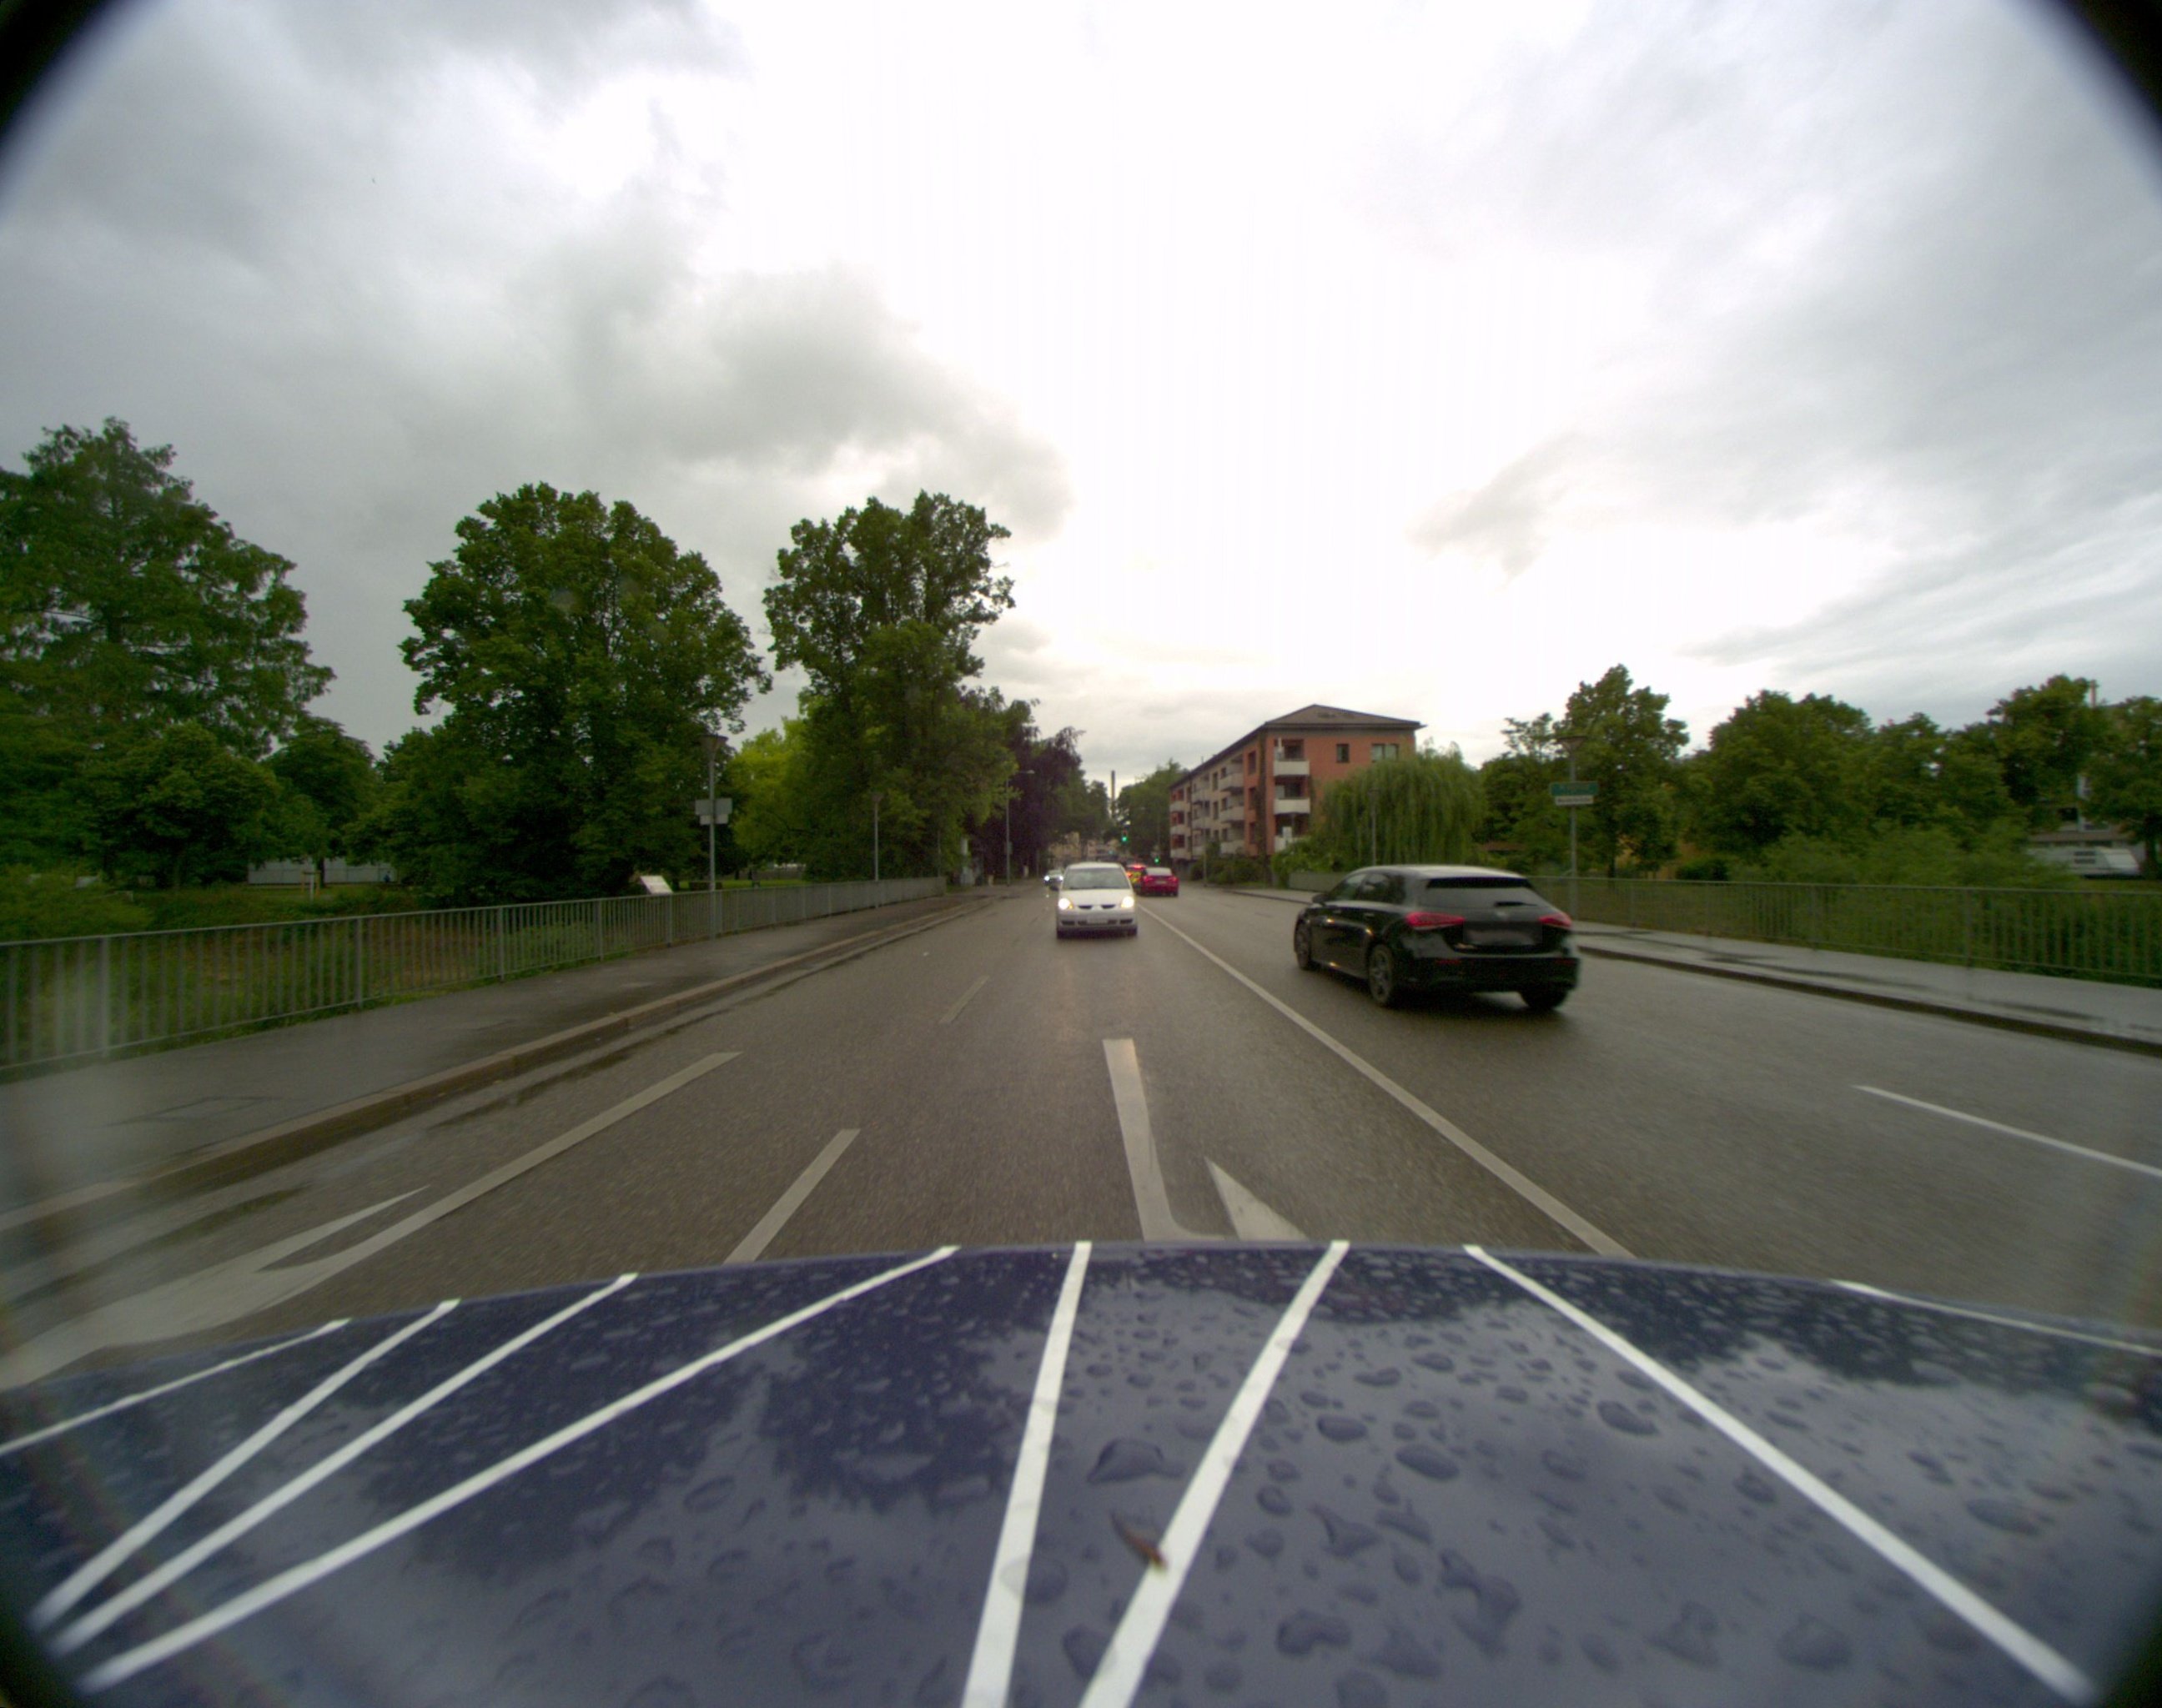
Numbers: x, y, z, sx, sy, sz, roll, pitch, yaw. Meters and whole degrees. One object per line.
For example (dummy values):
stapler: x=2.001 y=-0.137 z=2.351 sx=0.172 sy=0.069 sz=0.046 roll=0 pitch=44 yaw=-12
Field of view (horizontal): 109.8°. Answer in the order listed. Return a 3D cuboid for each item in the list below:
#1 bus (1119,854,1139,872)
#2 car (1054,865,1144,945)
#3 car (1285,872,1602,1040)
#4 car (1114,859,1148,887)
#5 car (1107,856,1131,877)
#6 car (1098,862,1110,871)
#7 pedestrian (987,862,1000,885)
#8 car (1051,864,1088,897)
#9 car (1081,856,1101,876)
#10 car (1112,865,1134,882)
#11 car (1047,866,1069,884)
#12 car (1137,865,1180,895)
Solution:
bus: x=7.972 y=1.437 z=127.870 sx=2.700 sy=2.922 sz=12.084 roll=0 pitch=0 yaw=0
car: x=0.359 y=1.033 z=17.294 sx=1.718 sy=1.508 sz=4.807 roll=-1 pitch=-1 yaw=0
car: x=3.759 y=0.951 z=8.774 sx=1.714 sy=1.408 sz=4.094 roll=0 pitch=0 yaw=0
car: x=3.122 y=1.174 z=48.176 sx=1.893 sy=1.724 sz=4.371 roll=0 pitch=-1 yaw=1
car: x=4.249 y=1.422 z=85.669 sx=2.295 sy=2.294 sz=6.510 roll=0 pitch=-1 yaw=0
car: x=3.915 y=2.161 z=129.499 sx=1.818 sy=1.569 sz=4.232 roll=0 pitch=-1 yaw=-1
pedestrian: x=-6.610 y=1.448 z=57.379 sx=0.850 sy=1.666 sz=1.167 roll=1 pitch=0 yaw=0
car: x=-0.534 y=1.289 z=38.444 sx=1.718 sy=1.508 sz=4.088 roll=-1 pitch=-1 yaw=0
car: x=1.045 y=1.240 z=80.984 sx=2.037 sy=2.119 sz=4.000 roll=-1 pitch=0 yaw=1
car: x=3.611 y=1.698 z=66.194 sx=1.750 sy=1.431 sz=4.000 roll=0 pitch=-1 yaw=1
car: x=-2.167 y=1.994 z=72.023 sx=1.906 sy=1.537 sz=4.000 roll=-1 pitch=0 yaw=1
car: x=3.808 y=1.271 z=38.001 sx=1.786 sy=1.394 sz=4.219 roll=0 pitch=-1 yaw=1
